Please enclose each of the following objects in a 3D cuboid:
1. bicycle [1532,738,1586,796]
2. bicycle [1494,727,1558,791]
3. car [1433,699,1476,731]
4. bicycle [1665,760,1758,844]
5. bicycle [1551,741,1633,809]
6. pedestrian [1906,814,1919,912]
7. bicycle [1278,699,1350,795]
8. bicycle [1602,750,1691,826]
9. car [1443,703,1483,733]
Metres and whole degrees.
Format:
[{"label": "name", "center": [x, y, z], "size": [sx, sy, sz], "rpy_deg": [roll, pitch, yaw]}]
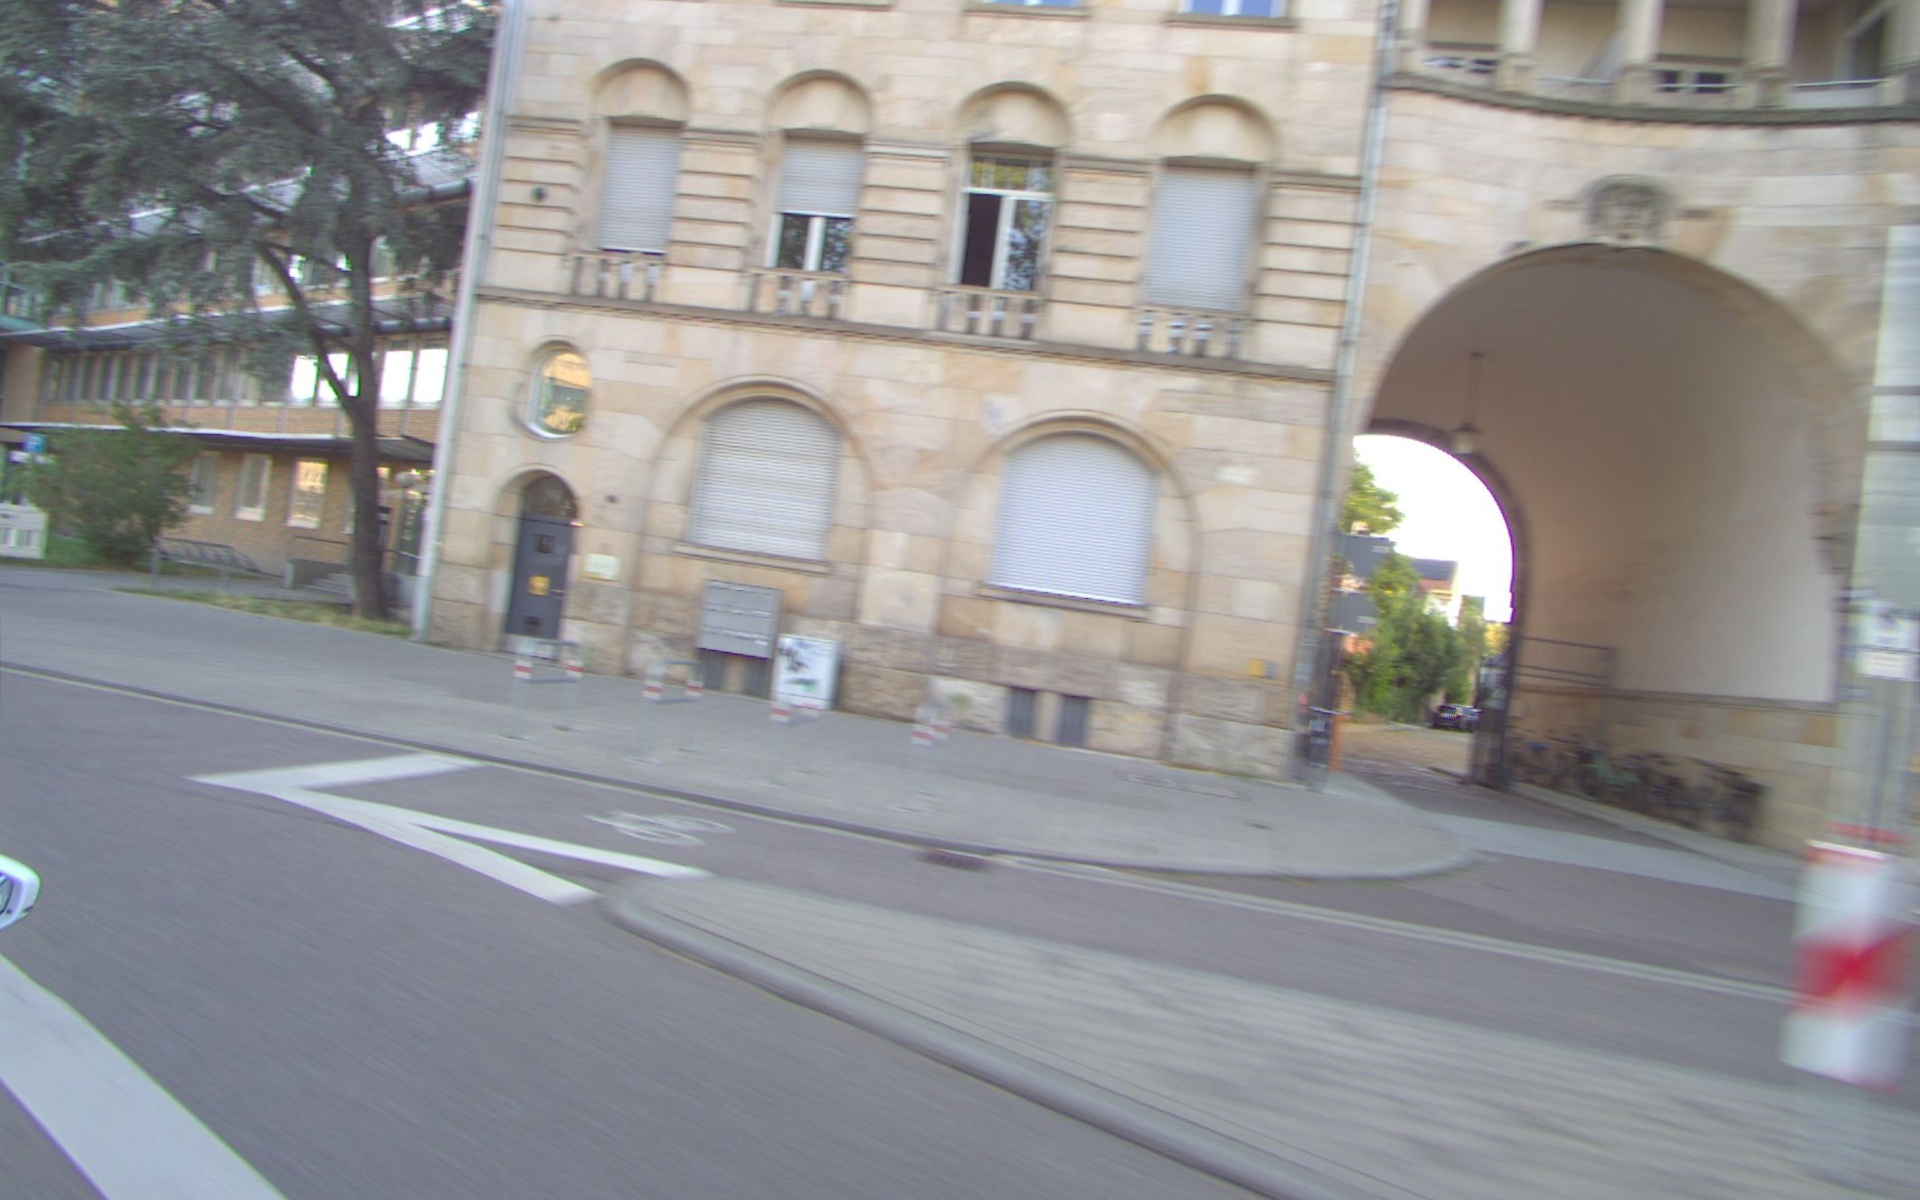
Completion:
[{"label": "bicycle", "center": [12.241, 3.407, 20.596], "size": [0.368, 0.982, 1.256], "rpy_deg": [9, -1, 8]}, {"label": "bicycle", "center": [12.416, 3.480, 22.118], "size": [0.524, 1.141, 1.615], "rpy_deg": [9, -1, 8]}, {"label": "car", "center": [33.077, 7.680, 67.211], "size": [1.806, 1.785, 3.991], "rpy_deg": [9, -1, 35]}, {"label": "bicycle", "center": [11.414, 3.051, 15.323], "size": [0.353, 0.998, 1.443], "rpy_deg": [9, -1, 8]}, {"label": "bicycle", "center": [11.906, 3.282, 18.994], "size": [0.598, 0.982, 1.574], "rpy_deg": [9, -1, 8]}, {"label": "pedestrian", "center": [10.377, 2.419, 10.241], "size": [0.708, 1.729, 0.578], "rpy_deg": [9, 0, 13]}, {"label": "bicycle", "center": [4.866, 1.988, 13.929], "size": [0.421, 1.085, 1.858], "rpy_deg": [9, -1, 8]}, {"label": "bicycle", "center": [11.733, 3.191, 17.242], "size": [0.406, 0.997, 1.735], "rpy_deg": [9, -1, 8]}, {"label": "car", "center": [36.236, 8.523, 72.422], "size": [1.806, 1.785, 3.991], "rpy_deg": [9, -1, 35]}]
